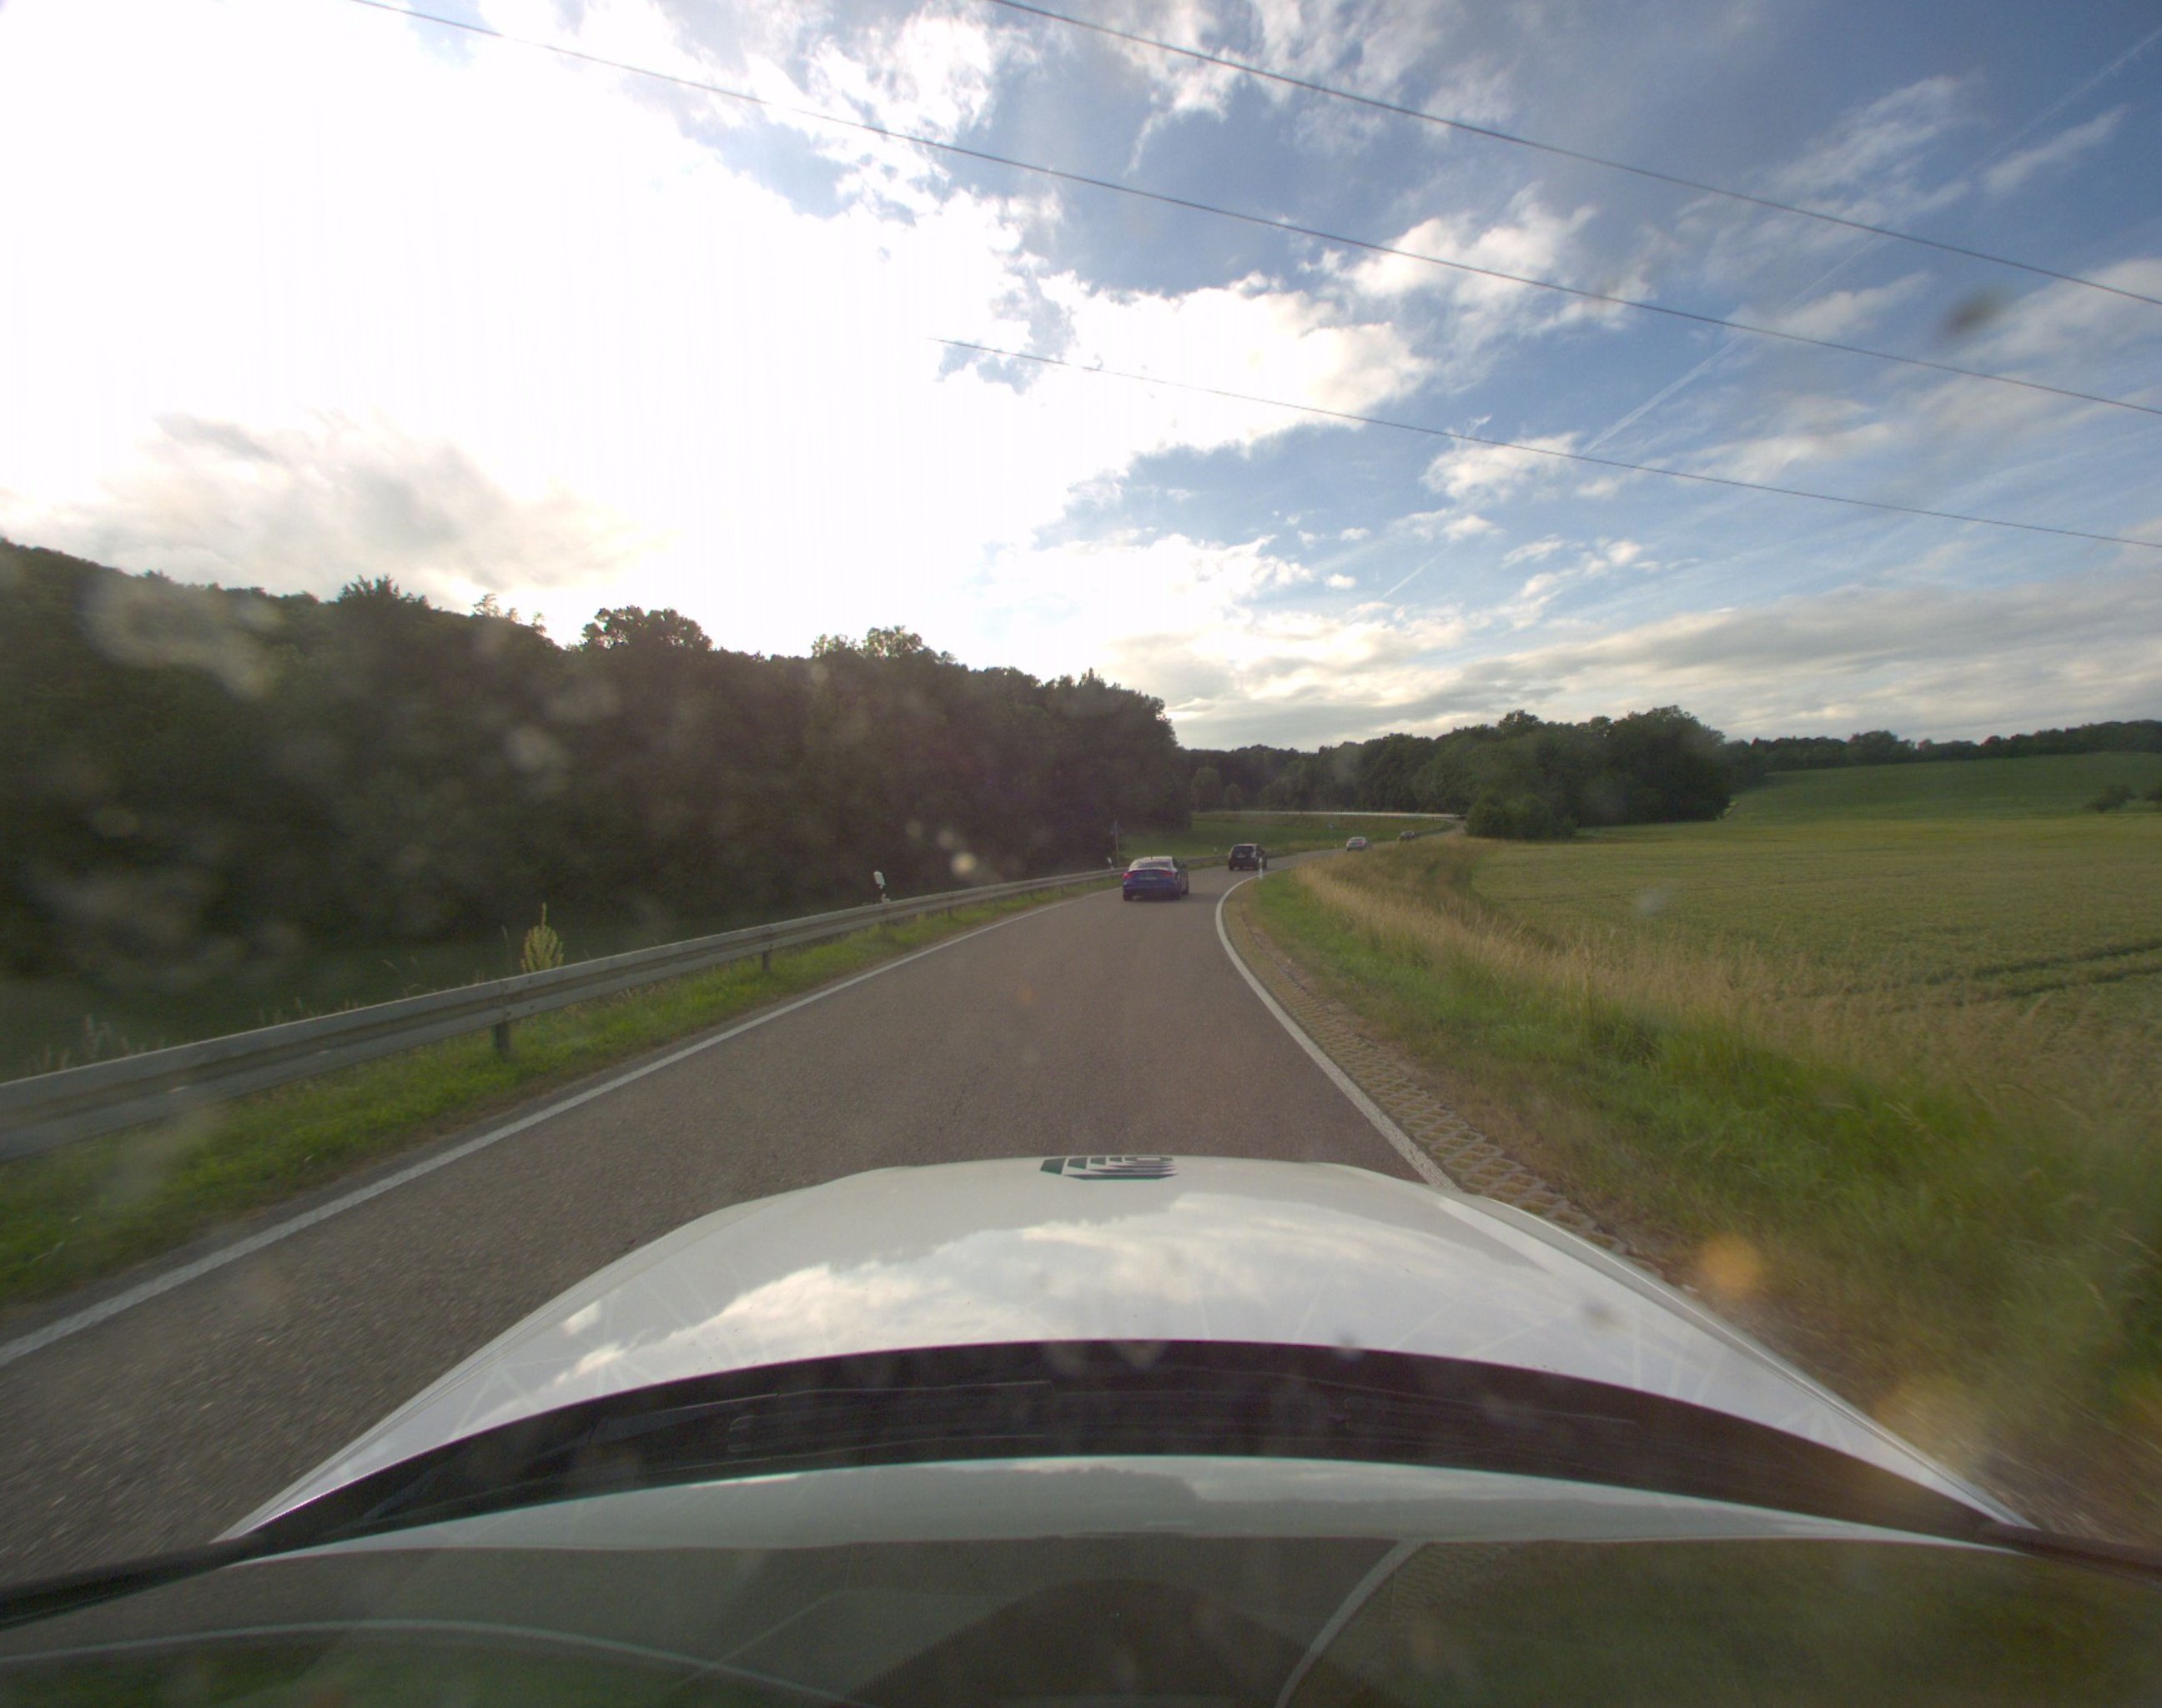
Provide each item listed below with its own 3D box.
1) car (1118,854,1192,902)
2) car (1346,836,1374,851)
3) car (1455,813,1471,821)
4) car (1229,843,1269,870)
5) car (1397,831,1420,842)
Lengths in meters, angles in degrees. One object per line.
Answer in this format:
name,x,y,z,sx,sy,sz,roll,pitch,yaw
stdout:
car,2.529,0.730,26.871,1.806,1.339,4.366,-2,0,13
car,29.220,-1.135,85.191,1.666,1.376,4.026,-4,-1,34
car,89.928,-8.711,191.761,1.984,1.771,4.008,-2,2,6
car,10.598,0.120,51.248,1.846,1.568,4.021,-1,1,20
car,42.069,-2.268,104.497,1.457,1.227,3.319,-5,0,45
